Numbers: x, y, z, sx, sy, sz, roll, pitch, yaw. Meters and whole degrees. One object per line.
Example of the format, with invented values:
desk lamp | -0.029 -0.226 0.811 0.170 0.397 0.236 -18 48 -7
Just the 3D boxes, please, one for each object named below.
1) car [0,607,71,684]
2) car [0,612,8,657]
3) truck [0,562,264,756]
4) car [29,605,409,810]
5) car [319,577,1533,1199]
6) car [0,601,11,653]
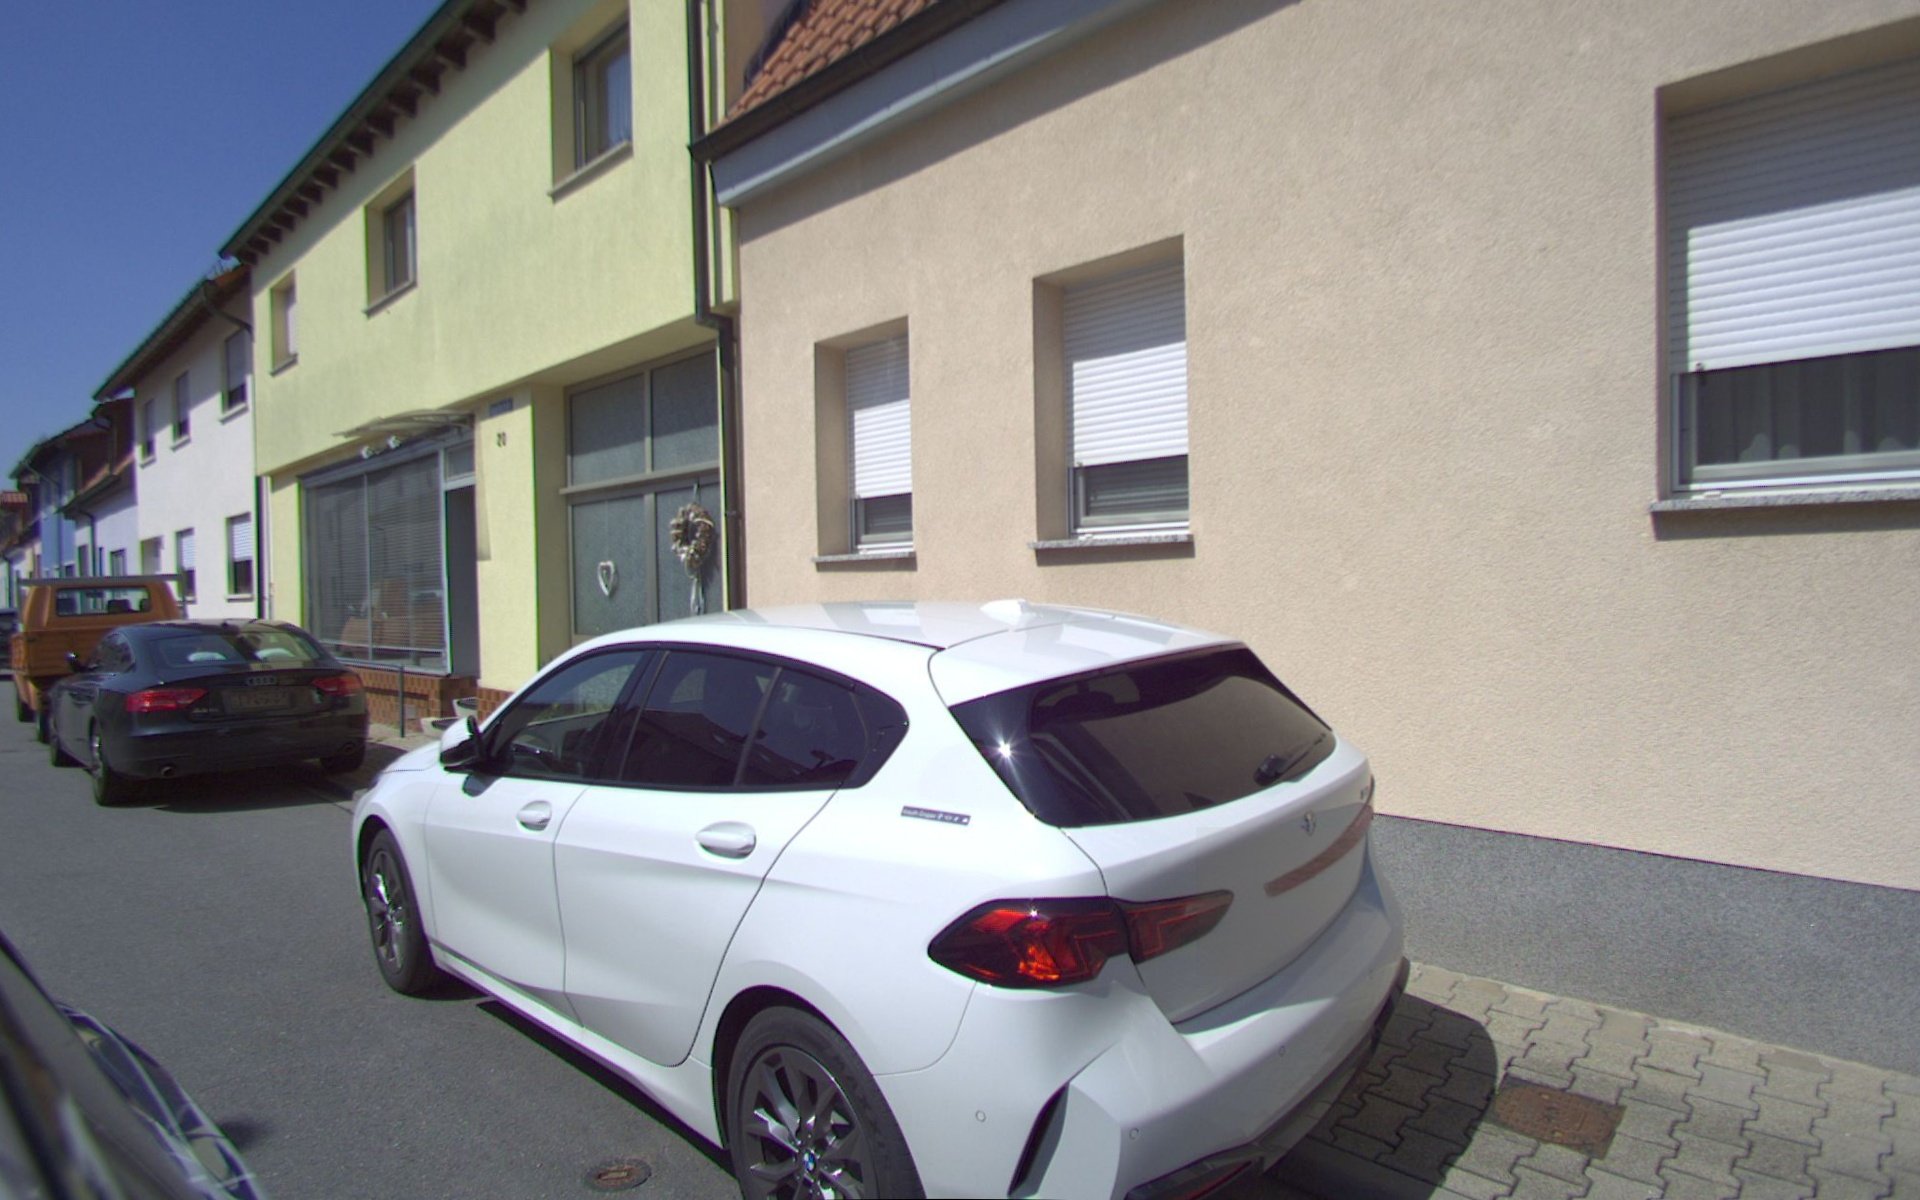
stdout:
car | -22.102 1.020 23.427 3.999 1.626 1.825 -1 0 42
car | -34.634 1.224 35.365 4.215 1.513 1.701 -1 0 43
truck | -10.946 0.604 13.131 5.081 2.029 2.158 0 1 44
car | -6.926 0.773 9.244 4.631 1.405 1.901 0 -2 42
car | -0.616 0.694 3.495 4.217 1.465 1.762 0 1 44
car | -40.331 1.100 41.218 3.997 2.029 1.974 1 1 40
